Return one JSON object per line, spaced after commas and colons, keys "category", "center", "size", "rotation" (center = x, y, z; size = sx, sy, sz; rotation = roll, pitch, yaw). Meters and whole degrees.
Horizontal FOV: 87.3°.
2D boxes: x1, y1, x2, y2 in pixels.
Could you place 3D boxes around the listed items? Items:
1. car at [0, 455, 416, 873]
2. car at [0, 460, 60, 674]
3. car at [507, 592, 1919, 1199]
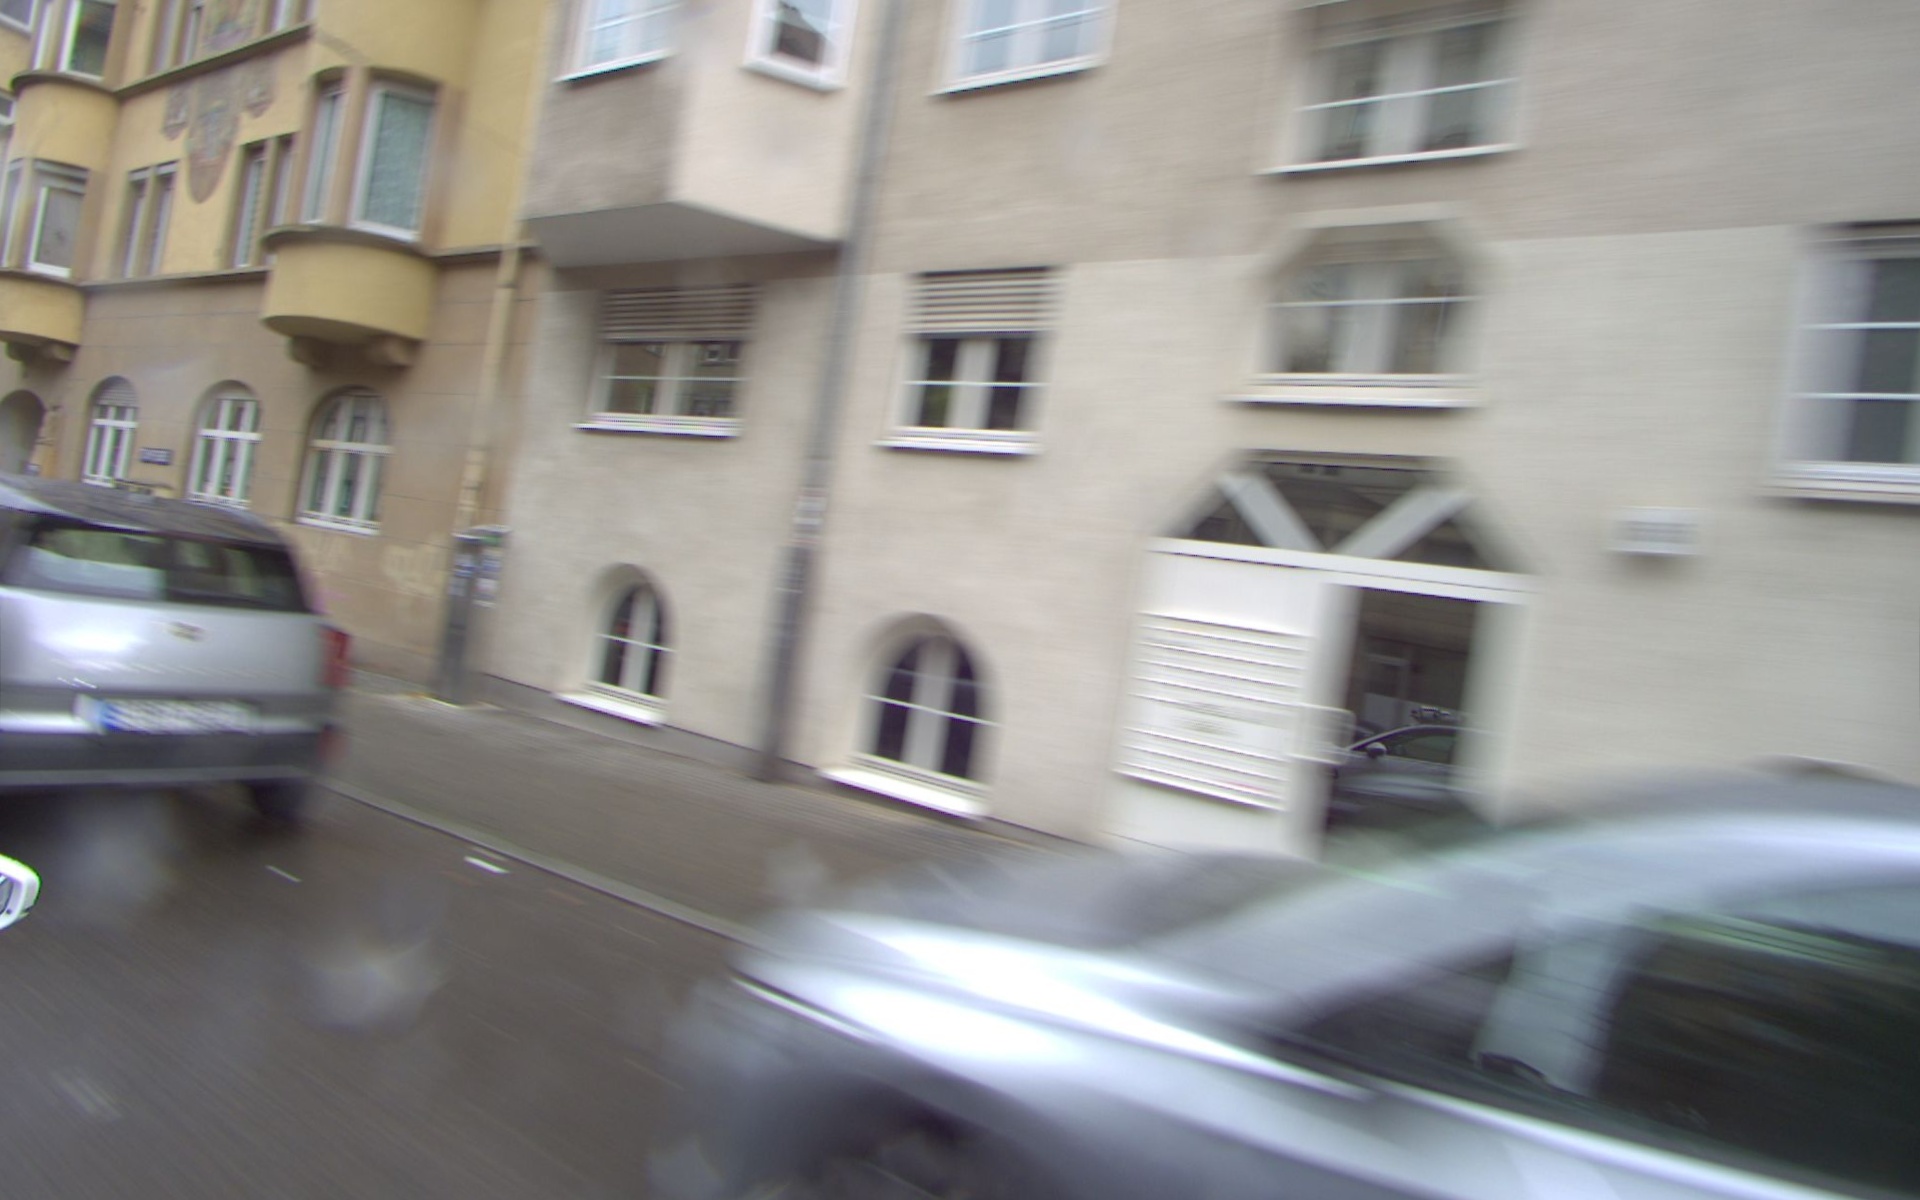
{"category": "car", "center": [-5.331, 0.129, 5.731], "size": [4.685, 1.626, 1.843], "rotation": [6, -2, 34]}
{"category": "car", "center": [-10.199, -0.524, 9.118], "size": [4.474, 1.770, 1.781], "rotation": [6, -2, 33]}
{"category": "car", "center": [1.394, 1.005, 1.882], "size": [4.301, 1.484, 1.836], "rotation": [6, -2, 30]}
